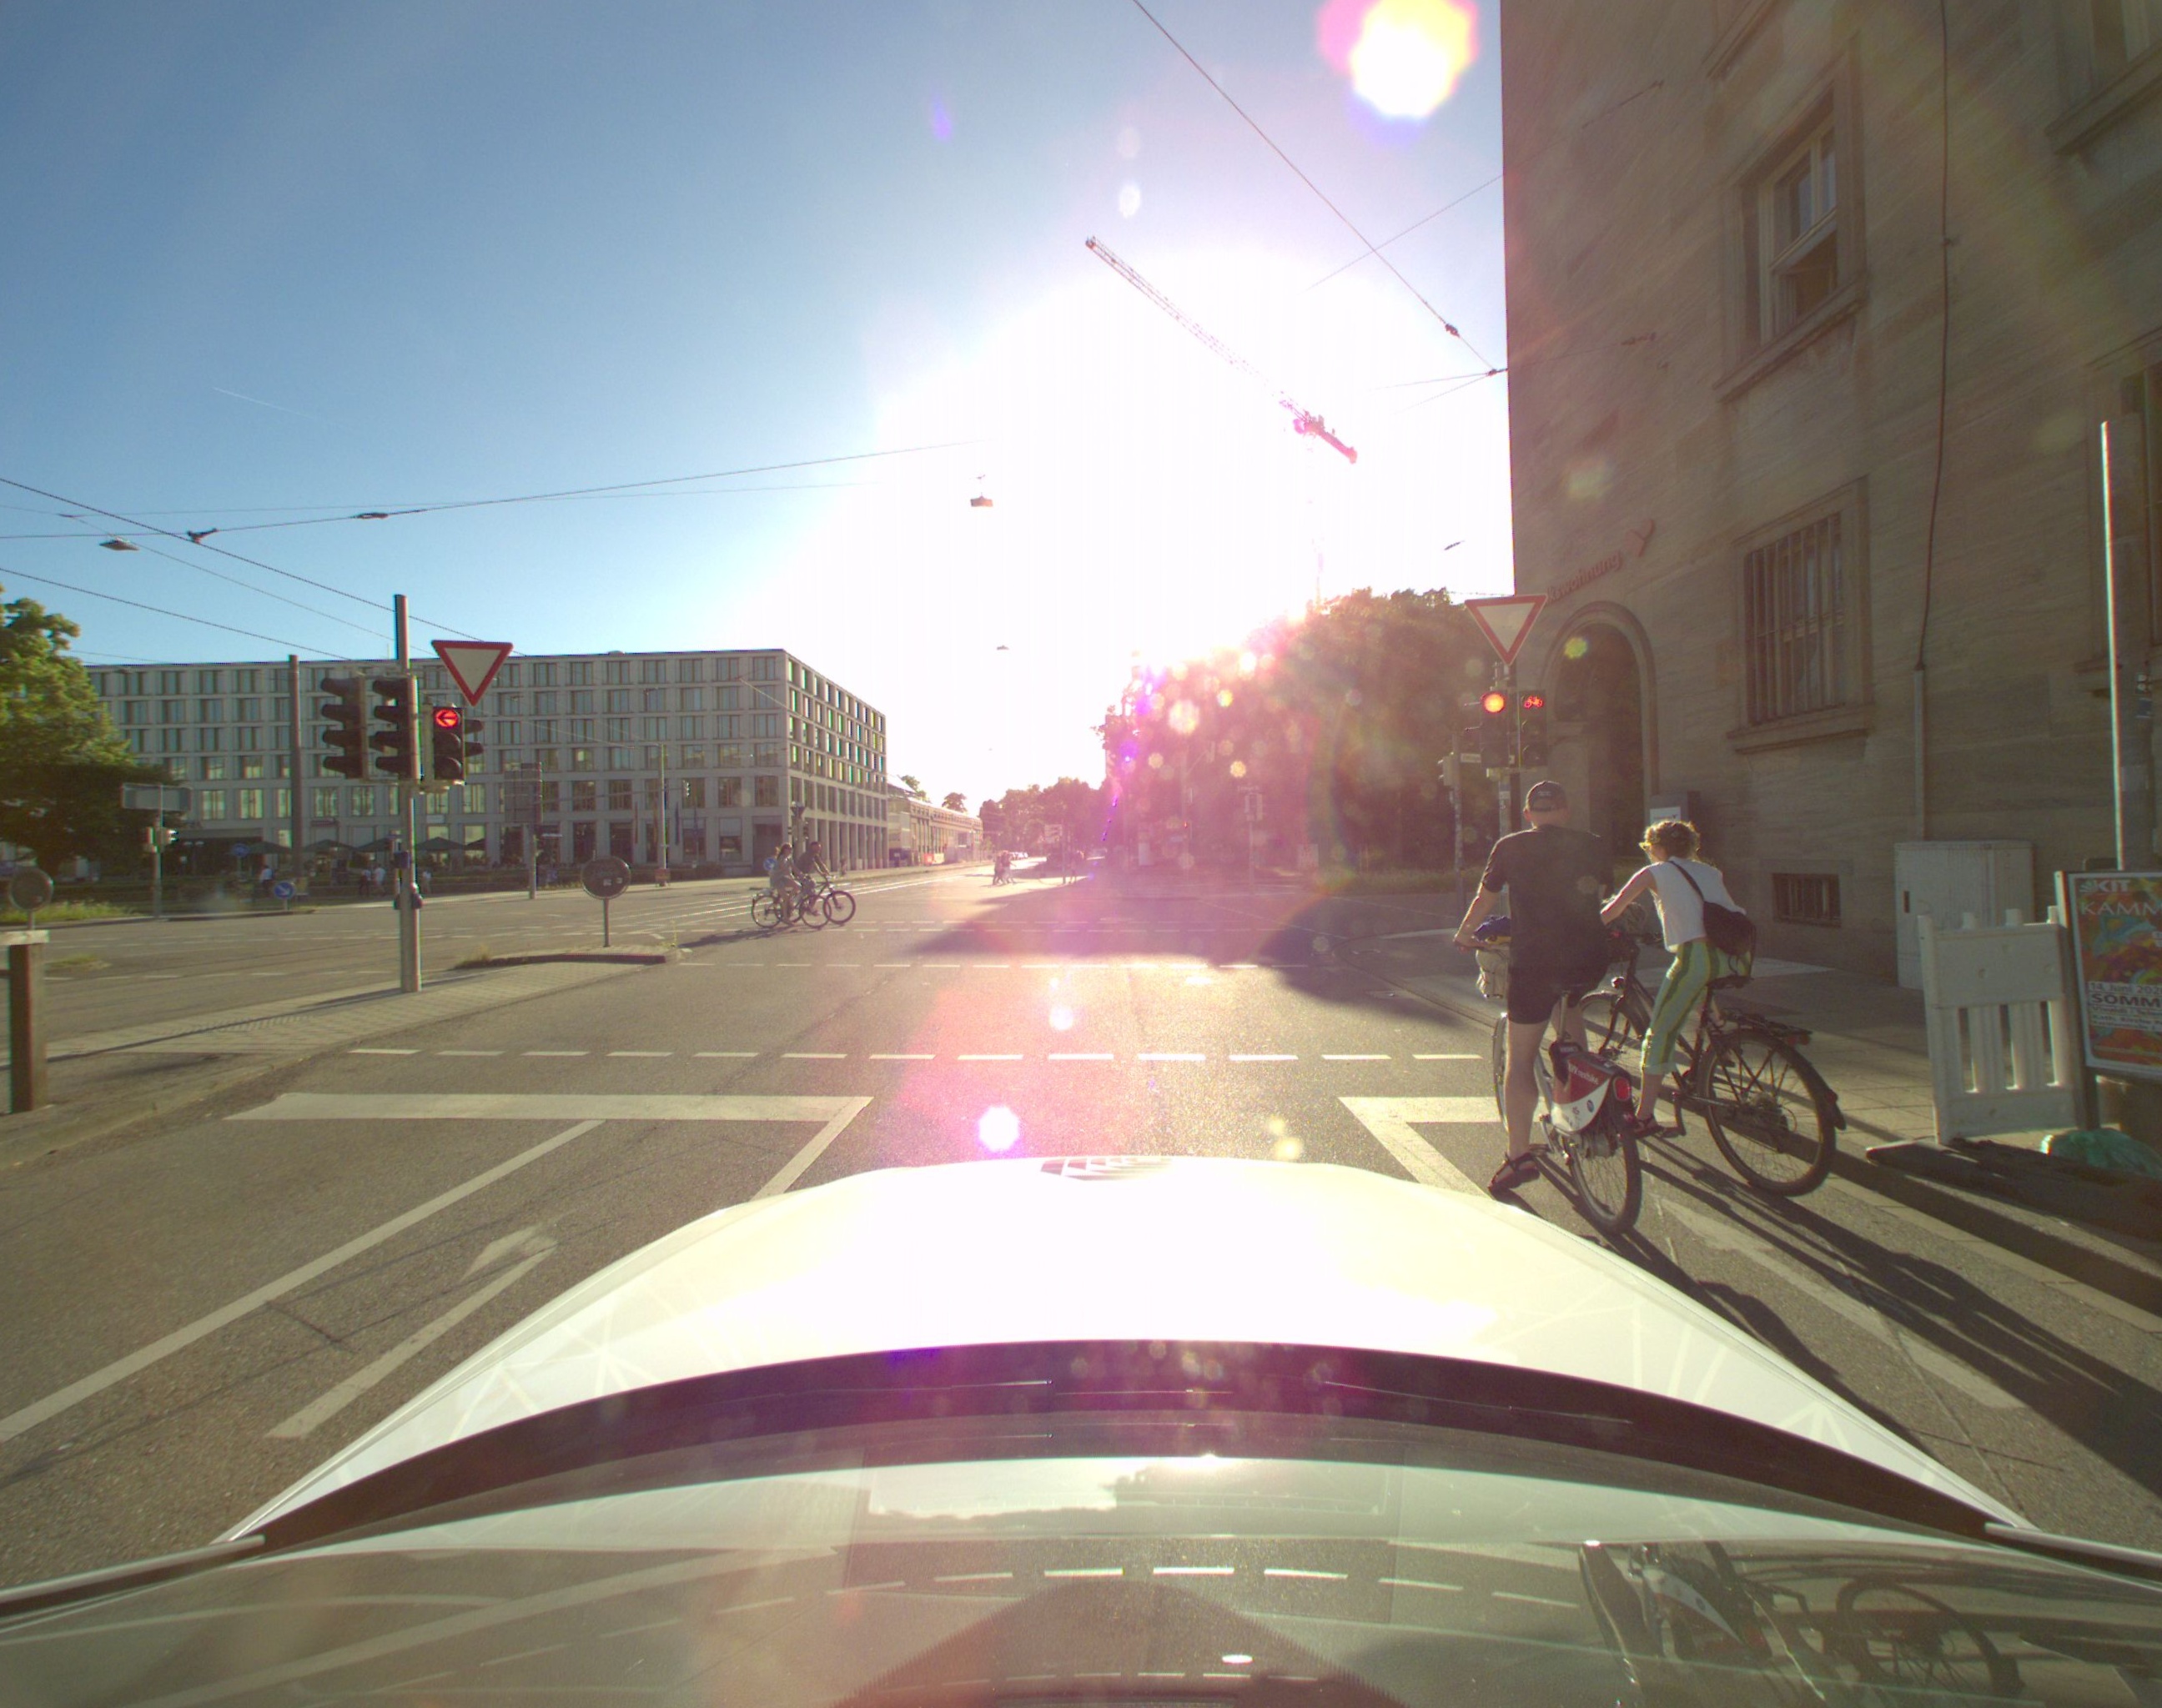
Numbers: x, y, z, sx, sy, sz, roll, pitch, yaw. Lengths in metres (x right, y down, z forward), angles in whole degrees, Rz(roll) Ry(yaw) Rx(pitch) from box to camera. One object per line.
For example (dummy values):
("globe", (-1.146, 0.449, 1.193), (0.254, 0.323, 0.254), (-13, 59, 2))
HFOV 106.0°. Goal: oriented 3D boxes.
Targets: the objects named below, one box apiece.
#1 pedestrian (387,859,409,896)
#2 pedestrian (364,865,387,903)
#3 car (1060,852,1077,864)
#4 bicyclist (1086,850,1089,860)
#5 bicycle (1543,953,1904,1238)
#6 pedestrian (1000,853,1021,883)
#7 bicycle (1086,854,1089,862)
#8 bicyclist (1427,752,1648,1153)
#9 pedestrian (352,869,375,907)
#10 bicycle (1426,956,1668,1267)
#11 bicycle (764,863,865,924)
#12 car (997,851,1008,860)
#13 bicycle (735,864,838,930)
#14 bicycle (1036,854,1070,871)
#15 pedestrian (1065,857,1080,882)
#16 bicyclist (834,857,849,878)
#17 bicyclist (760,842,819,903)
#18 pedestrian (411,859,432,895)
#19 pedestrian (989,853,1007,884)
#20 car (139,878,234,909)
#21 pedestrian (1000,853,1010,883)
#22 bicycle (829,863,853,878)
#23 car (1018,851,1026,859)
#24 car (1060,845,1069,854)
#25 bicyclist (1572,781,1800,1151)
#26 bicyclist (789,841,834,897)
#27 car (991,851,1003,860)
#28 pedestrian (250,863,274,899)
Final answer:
("pedestrian", (-38.105, 1.308, 45.441), (0.528, 2.013, 0.800), (-2, 0, -5))
("pedestrian", (-38.737, 1.647, 44.719), (0.528, 2.013, 0.800), (-2, 0, -5))
("car", (-1.378, 0.431, 91.057), (1.814, 1.279, 3.999), (-2, 0, 0))
("bicyclist", (0.809, 0.128, 98.551), (0.317, 1.127, 0.291), (-2, 0, 1))
("bicycle", (3.072, 1.070, 4.174), (0.424, 0.876, 1.953), (-2, 0, 5))
("pedestrian", (-3.742, 0.759, 43.513), (0.980, 1.587, 0.661), (-2, -1, 3))
("bicycle", (0.823, 0.498, 98.678), (0.323, 0.868, 1.484), (-2, 0, 2))
("bicyclist", (2.069, 0.420, 3.780), (0.666, 1.678, 0.658), (-2, 0, 9))
("pedestrian", (-38.640, 1.812, 43.848), (0.528, 2.013, 0.800), (-2, 0, -5))
("bicycle", (2.150, 1.082, 4.017), (0.387, 0.905, 1.956), (-2, 0, 10))
("bicycle", (-5.992, 0.874, 18.363), (1.979, 1.291, 0.792), (-2, 0, 0))
("car", (-15.455, 0.241, 160.899), (1.724, 1.653, 4.002), (-2, 0, 2))
("bicycle", (-6.159, 0.889, 17.096), (1.846, 1.291, 0.791), (-2, 0, -2))
("bicycle", (-2.333, 0.724, 67.367), (2.728, 1.367, 0.633), (-1, -1, 12))
("pedestrian", (-0.460, 0.865, 44.609), (0.749, 1.332, 0.743), (-2, 0, 3))
("bicyclist", (-19.072, 1.085, 64.869), (0.872, 1.641, 0.822), (-2, 0, 3))
("bicyclist", (-6.111, 0.378, 17.097), (0.922, 1.218, 0.796), (-2, 0, -1))
("pedestrian", (-37.098, 1.270, 45.823), (0.528, 2.013, 0.800), (-2, 0, -5))
("pedestrian", (-4.490, 0.764, 44.043), (0.792, 1.639, 0.534), (-2, 0, 4))
("car", (-46.936, 2.062, 42.767), (3.179, 1.438, 1.469), (-2, 0, -5))
("pedestrian", (-4.211, 0.770, 45.206), (0.440, 1.662, 0.376), (-2, 0, 1))
("bicycle", (-19.075, 1.317, 64.869), (0.872, 1.121, 3.015), (-2, 0, 3))
("car", (-14.057, 0.302, 195.114), (1.478, 1.750, 4.002), (-2, 0, 2))
("car", (-4.105, -1.100, 199.178), (1.986, 2.013, 4.002), (-2, 0, 2))
("bicyclist", (3.022, 0.515, 4.155), (0.519, 1.679, 0.860), (-2, 0, 5))
("bicyclist", (-6.066, 0.327, 18.368), (0.718, 1.218, 0.798), (-2, 0, 1))
("car", (-16.064, 0.306, 156.562), (1.724, 1.653, 4.002), (-2, 0, 2))
("pedestrian", (-44.407, 1.442, 44.146), (0.557, 1.903, 0.684), (-2, 0, 10))
